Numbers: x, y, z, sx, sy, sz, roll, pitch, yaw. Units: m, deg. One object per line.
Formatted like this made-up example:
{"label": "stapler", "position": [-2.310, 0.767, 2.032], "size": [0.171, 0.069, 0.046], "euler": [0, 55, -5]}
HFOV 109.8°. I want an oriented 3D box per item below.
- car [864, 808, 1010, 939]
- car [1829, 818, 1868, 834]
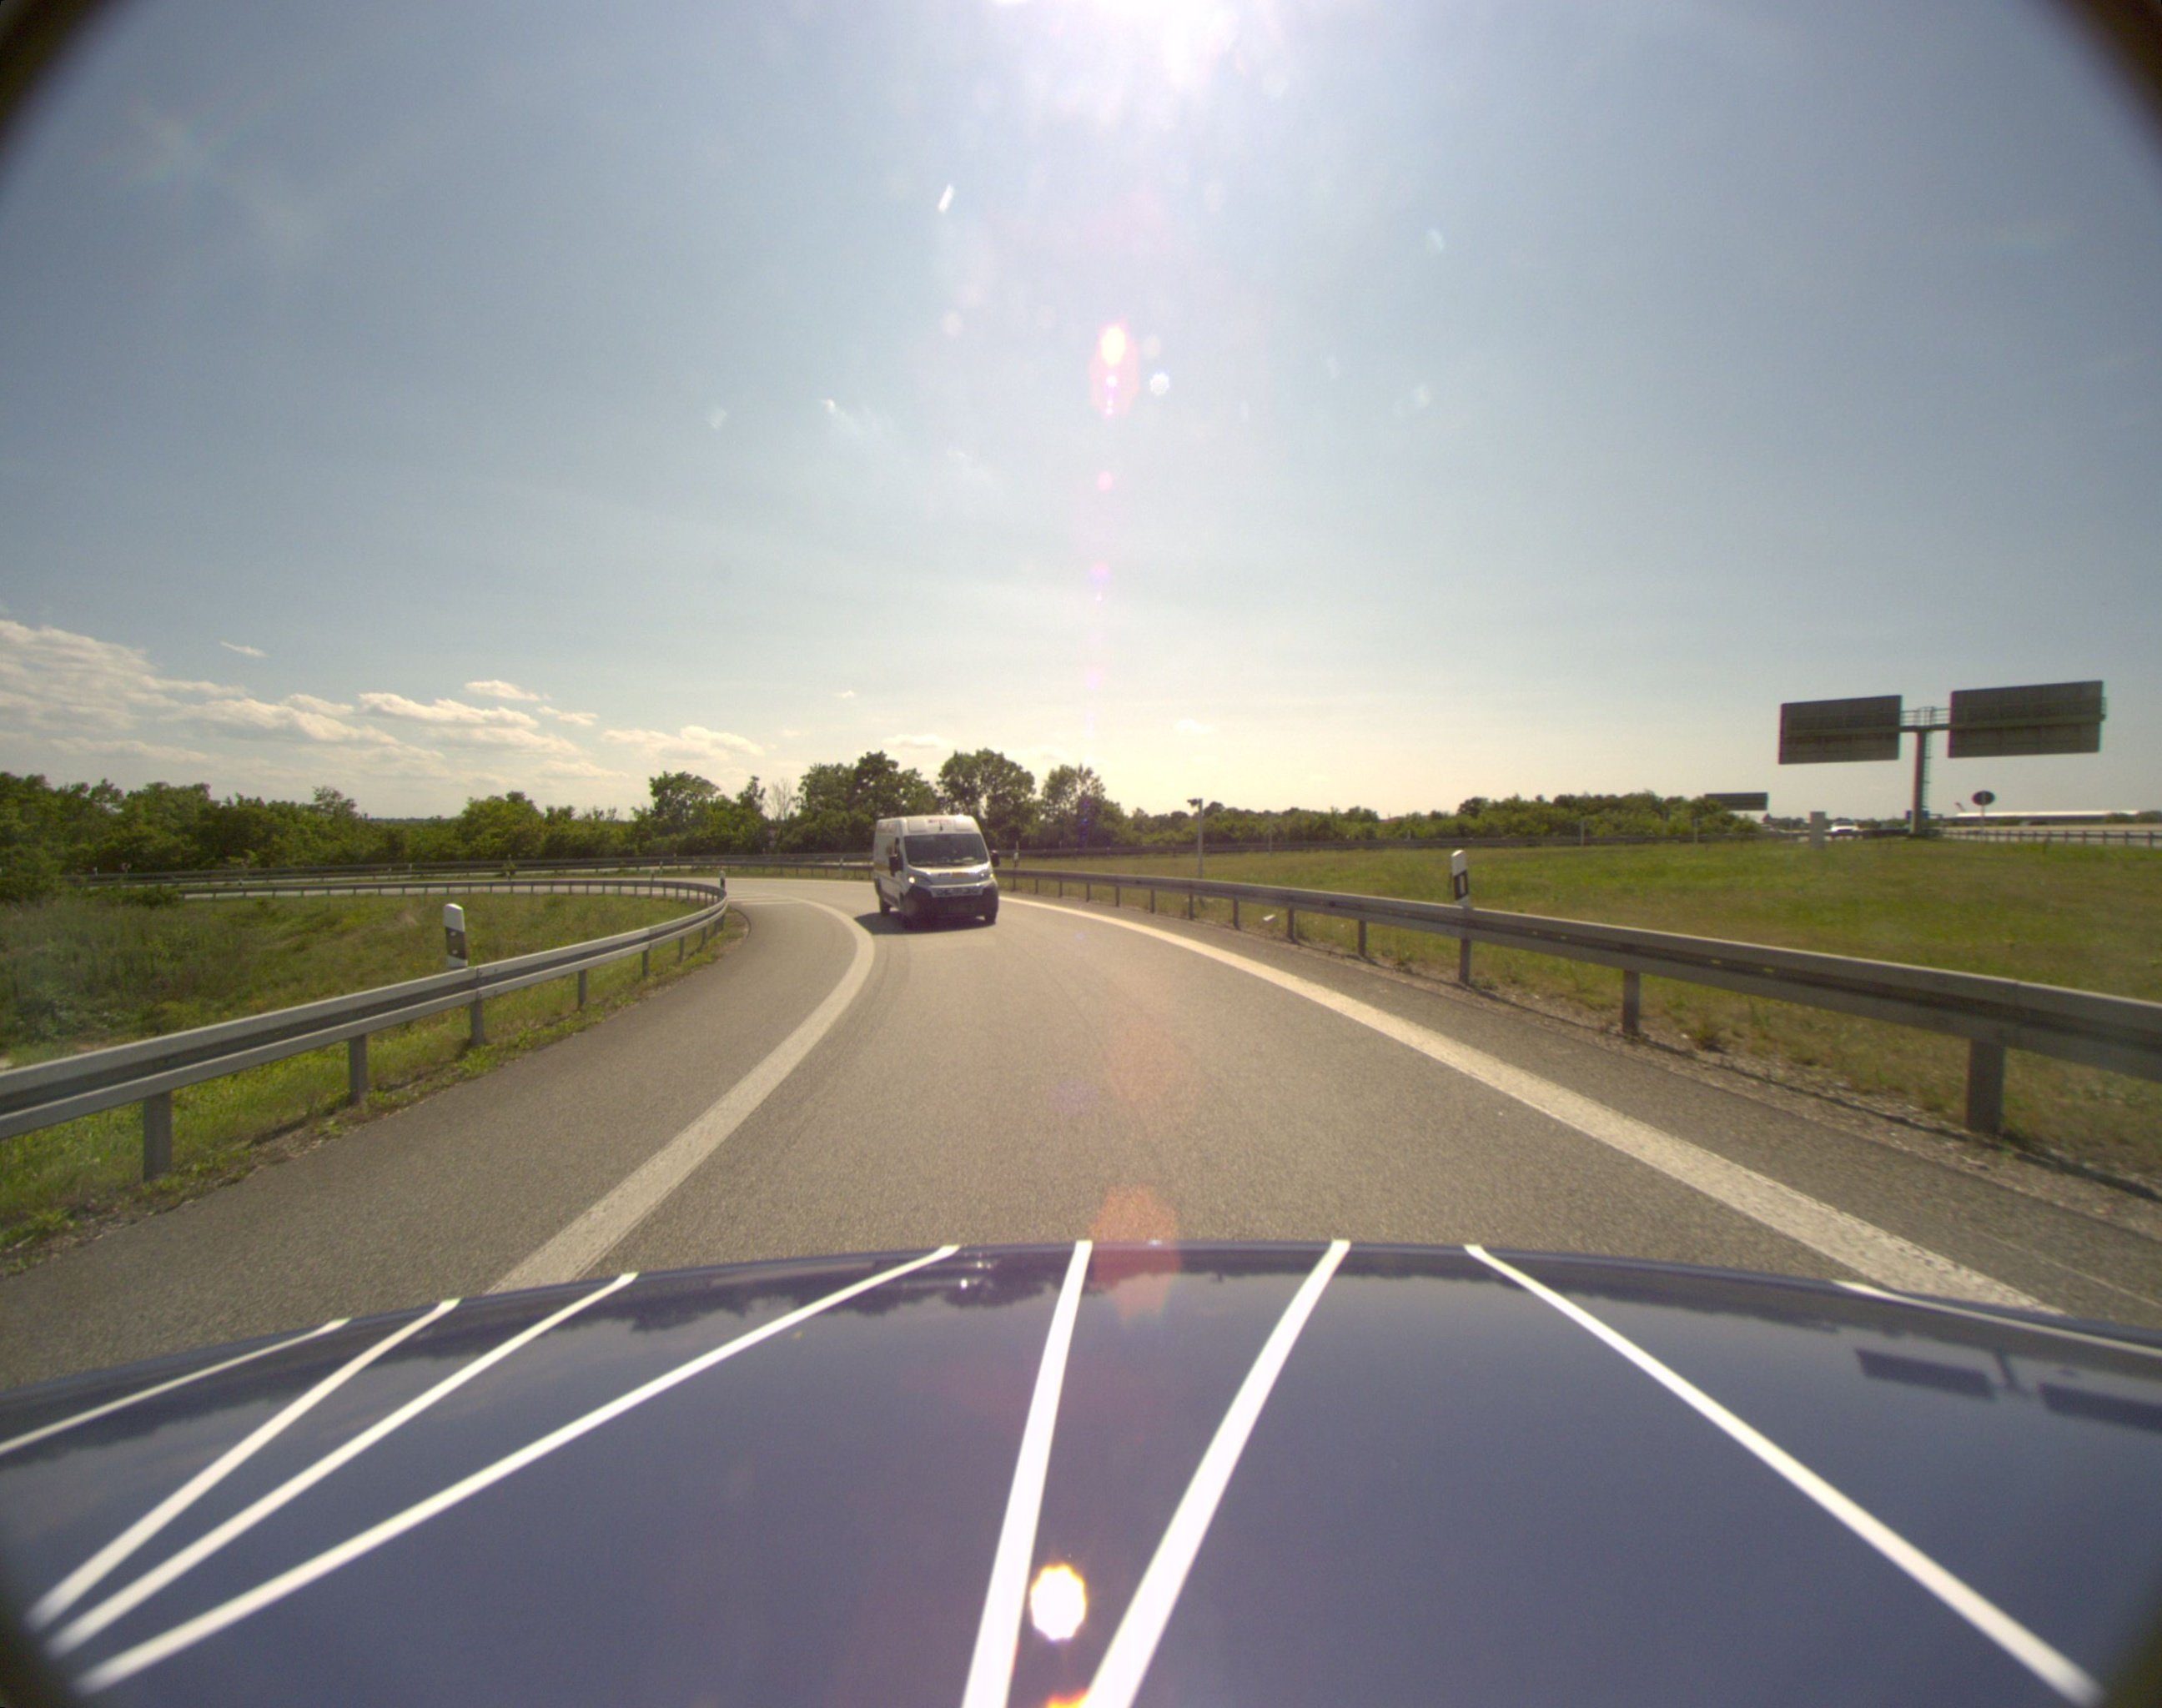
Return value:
{"label": "car", "position": [-3.758, 0.301, 18.562], "size": [2.090, 2.510, 6.223], "euler": [-6, 4, -22]}
{"label": "car", "position": [78.327, -2.861, 77.529], "size": [4.305, 1.499, 1.995], "euler": [-3, 1, -33]}
